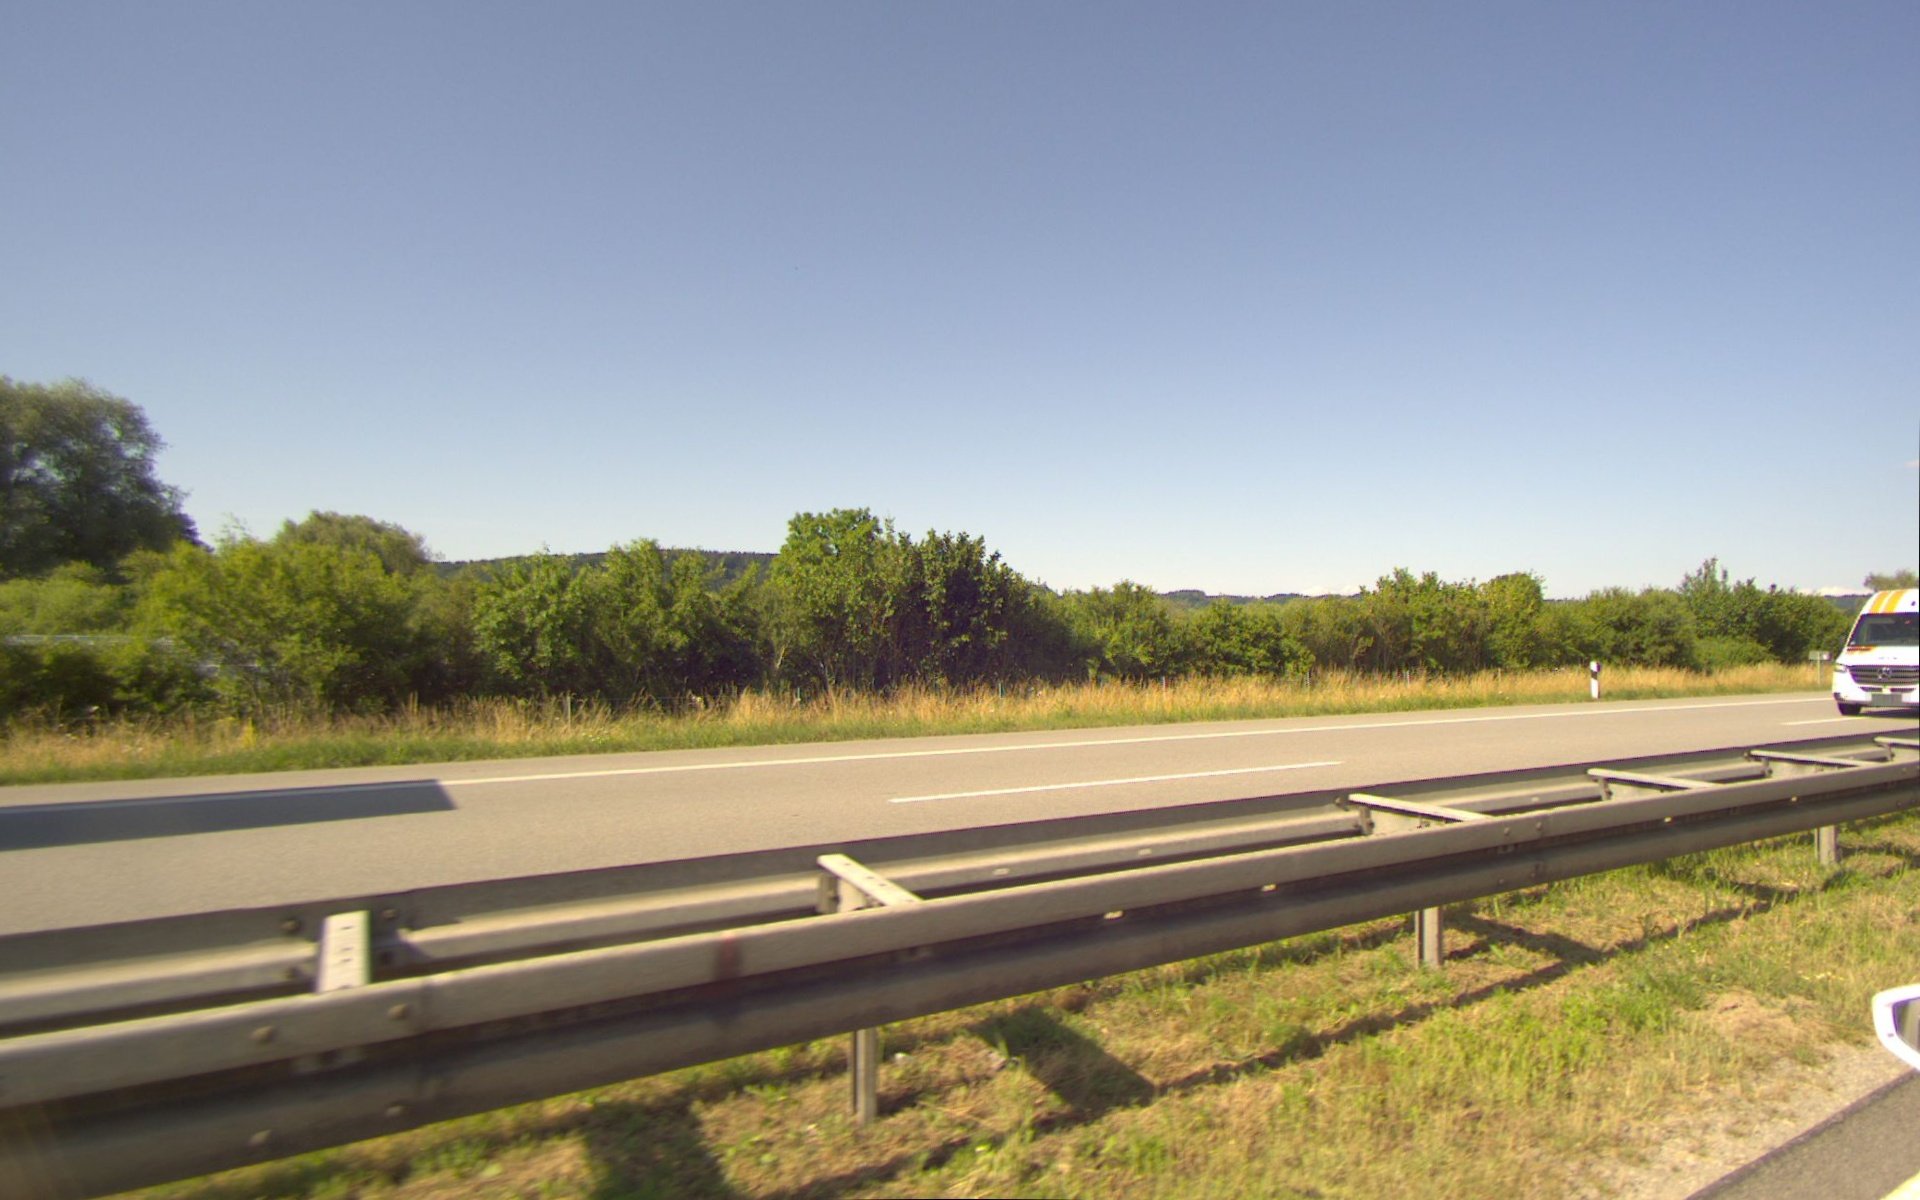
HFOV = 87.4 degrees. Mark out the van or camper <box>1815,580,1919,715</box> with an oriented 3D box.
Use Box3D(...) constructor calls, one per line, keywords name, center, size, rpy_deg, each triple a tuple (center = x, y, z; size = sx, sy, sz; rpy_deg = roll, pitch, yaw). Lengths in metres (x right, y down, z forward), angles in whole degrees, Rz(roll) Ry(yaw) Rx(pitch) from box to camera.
Box3D(name="van or camper", center=(20.754, 1.014, 21.126), size=(7.144, 2.529, 1.984), rpy_deg=(2, -3, -31))
